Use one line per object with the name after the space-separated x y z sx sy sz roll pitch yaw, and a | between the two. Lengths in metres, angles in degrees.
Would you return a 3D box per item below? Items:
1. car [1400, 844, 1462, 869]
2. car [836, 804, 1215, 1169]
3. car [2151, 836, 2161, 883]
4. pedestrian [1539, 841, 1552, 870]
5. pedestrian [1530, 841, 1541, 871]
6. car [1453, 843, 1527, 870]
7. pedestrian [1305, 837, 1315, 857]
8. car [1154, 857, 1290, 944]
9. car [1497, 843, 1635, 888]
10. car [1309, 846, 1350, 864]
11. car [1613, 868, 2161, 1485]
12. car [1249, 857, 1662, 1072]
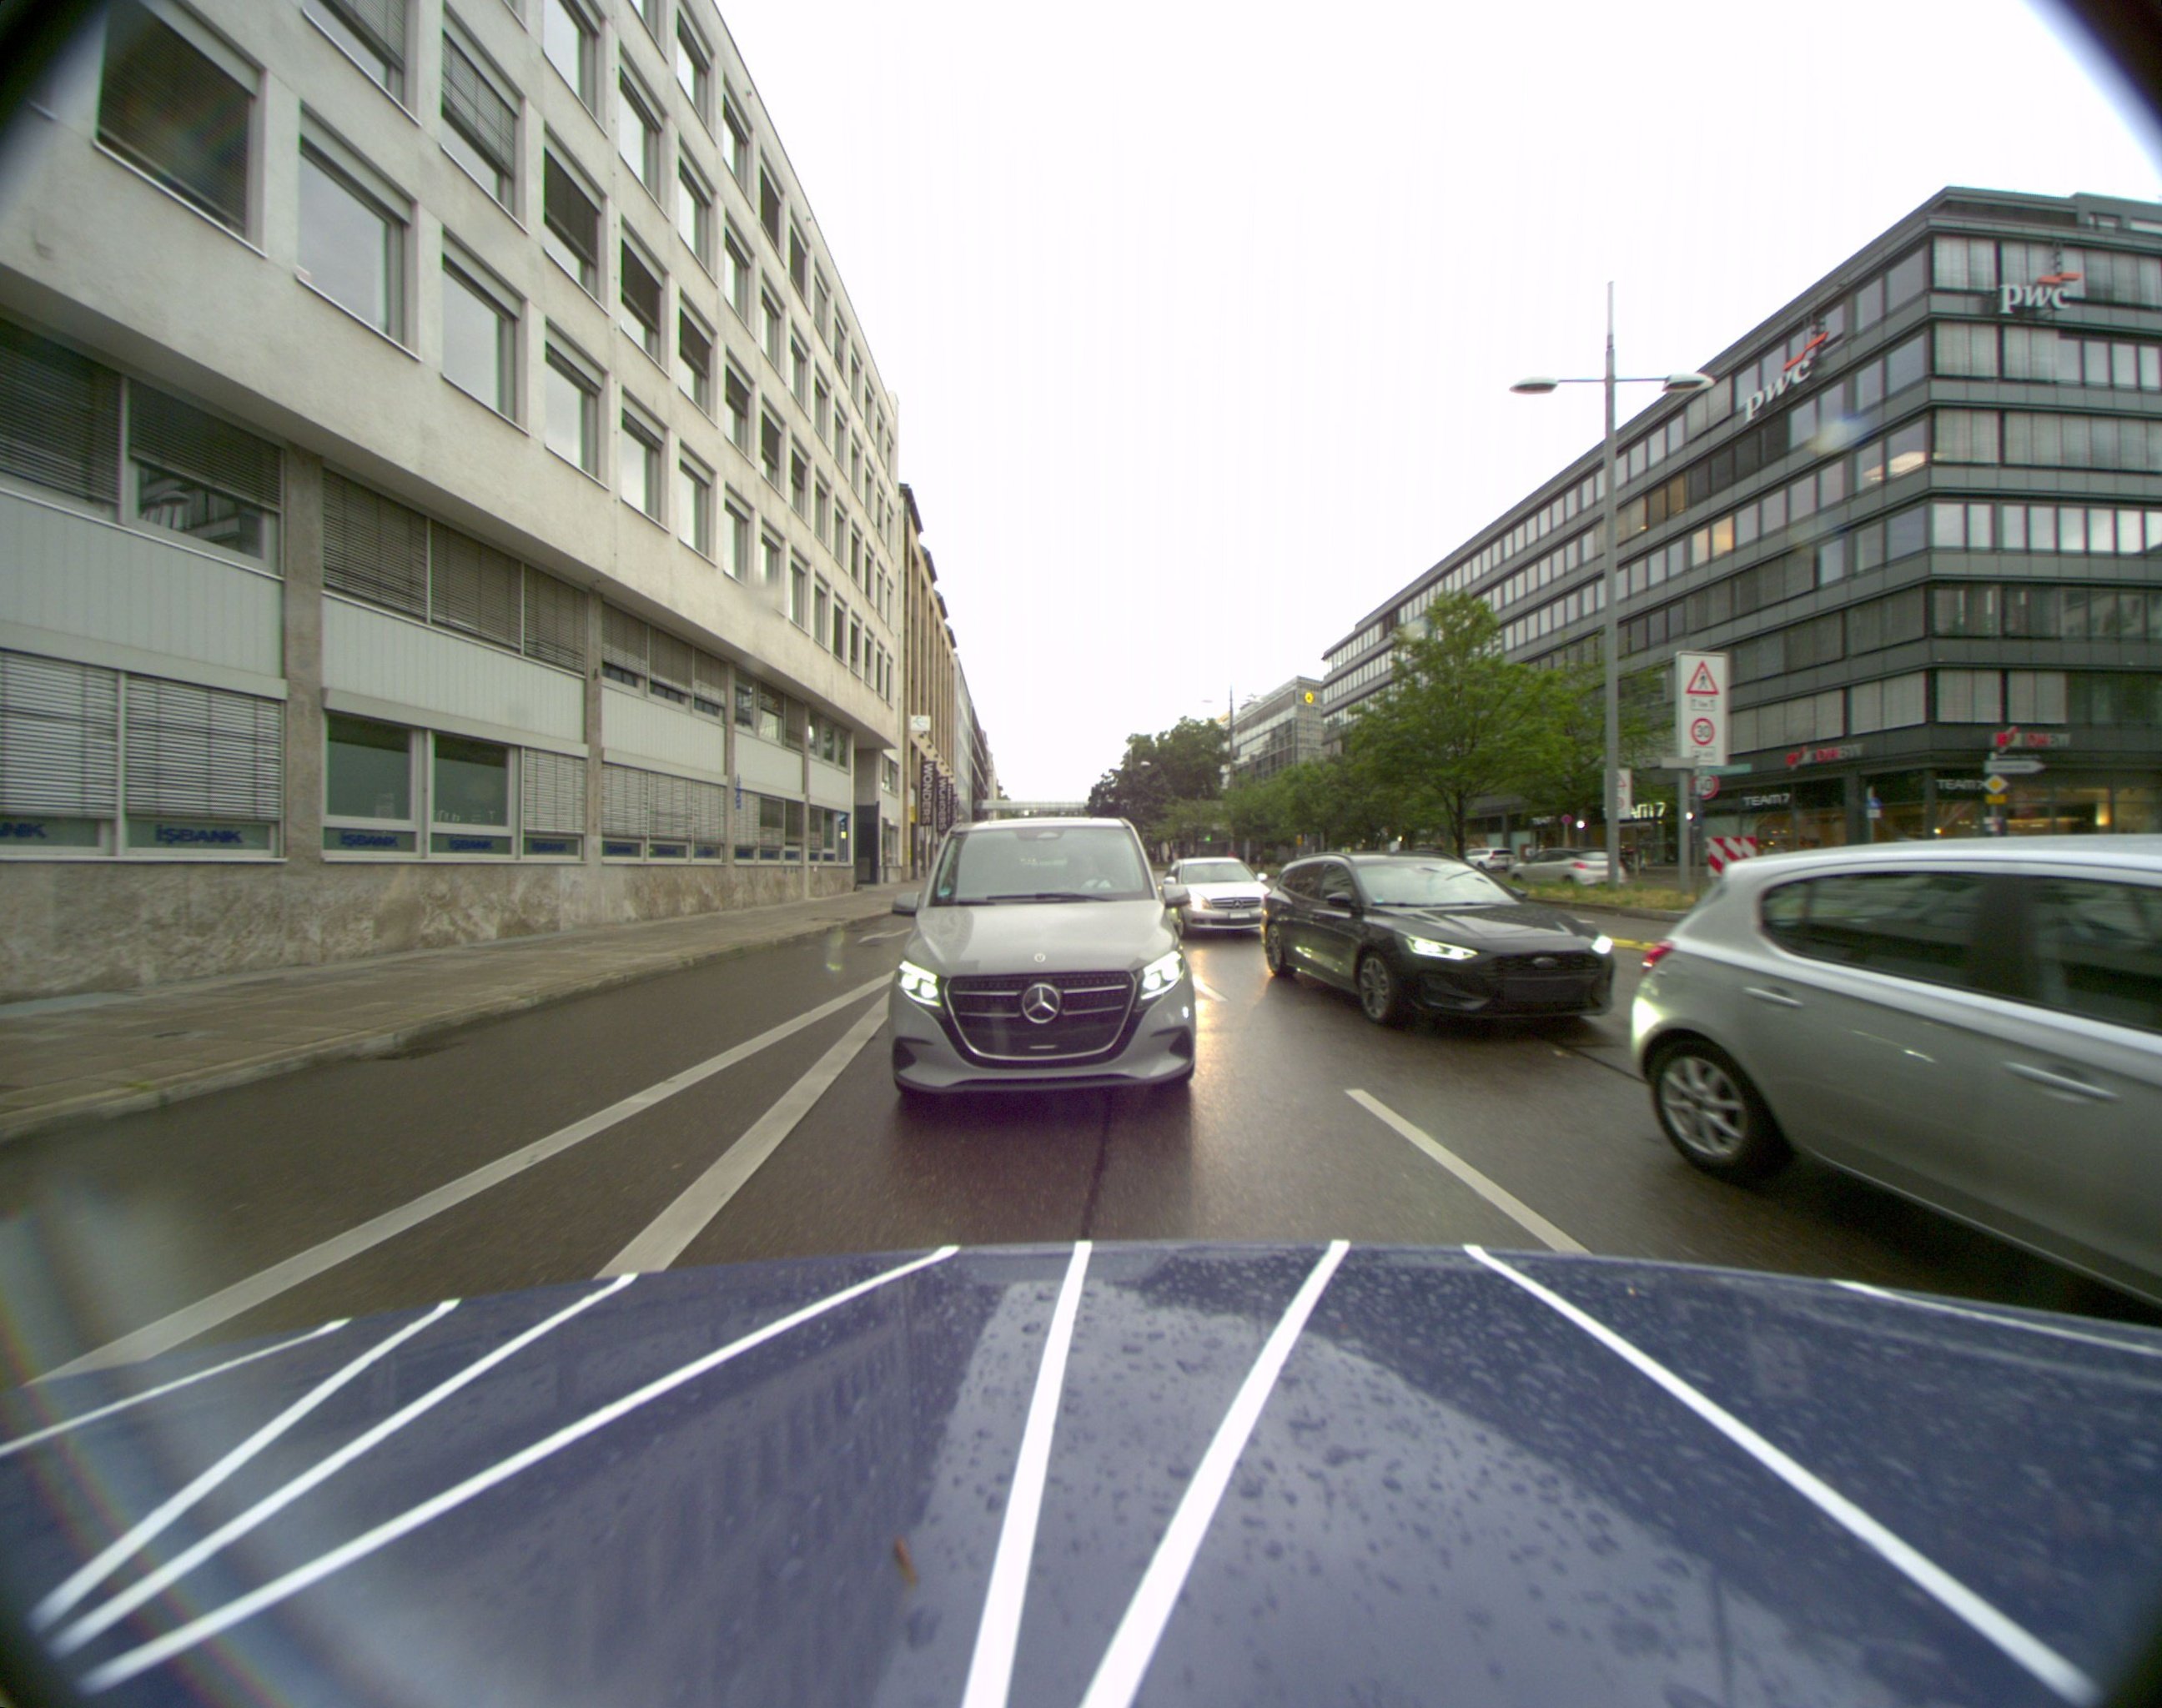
23.375 0.156 50.964 1.999 1.498 4.105 -2 0 -4 | car
-0.316 0.684 6.490 1.916 1.844 5.026 -2 0 -1 | car
38.395 0.135 25.075 3.762 1.575 1.849 -2 0 -3 | car
32.188 0.122 52.696 0.575 2.002 0.461 -2 1 -5 | pedestrian
30.805 0.136 51.521 0.541 2.002 0.297 -2 1 -5 | pedestrian
23.867 0.139 44.509 1.999 1.498 3.998 -2 0 -4 | car
24.469 -0.748 81.161 0.928 2.002 0.539 -2 1 -2 | pedestrian
2.574 0.801 14.862 1.776 1.372 4.094 -2 0 -1 | car
16.445 0.361 26.022 1.751 1.365 3.997 -2 0 -9 | car
22.033 0.059 67.500 1.999 1.498 3.998 -2 0 -4 | car
3.473 0.817 1.802 1.652 1.427 3.874 -2 0 -1 | car
3.128 0.786 7.429 1.776 1.427 4.093 -2 0 -4 | car
